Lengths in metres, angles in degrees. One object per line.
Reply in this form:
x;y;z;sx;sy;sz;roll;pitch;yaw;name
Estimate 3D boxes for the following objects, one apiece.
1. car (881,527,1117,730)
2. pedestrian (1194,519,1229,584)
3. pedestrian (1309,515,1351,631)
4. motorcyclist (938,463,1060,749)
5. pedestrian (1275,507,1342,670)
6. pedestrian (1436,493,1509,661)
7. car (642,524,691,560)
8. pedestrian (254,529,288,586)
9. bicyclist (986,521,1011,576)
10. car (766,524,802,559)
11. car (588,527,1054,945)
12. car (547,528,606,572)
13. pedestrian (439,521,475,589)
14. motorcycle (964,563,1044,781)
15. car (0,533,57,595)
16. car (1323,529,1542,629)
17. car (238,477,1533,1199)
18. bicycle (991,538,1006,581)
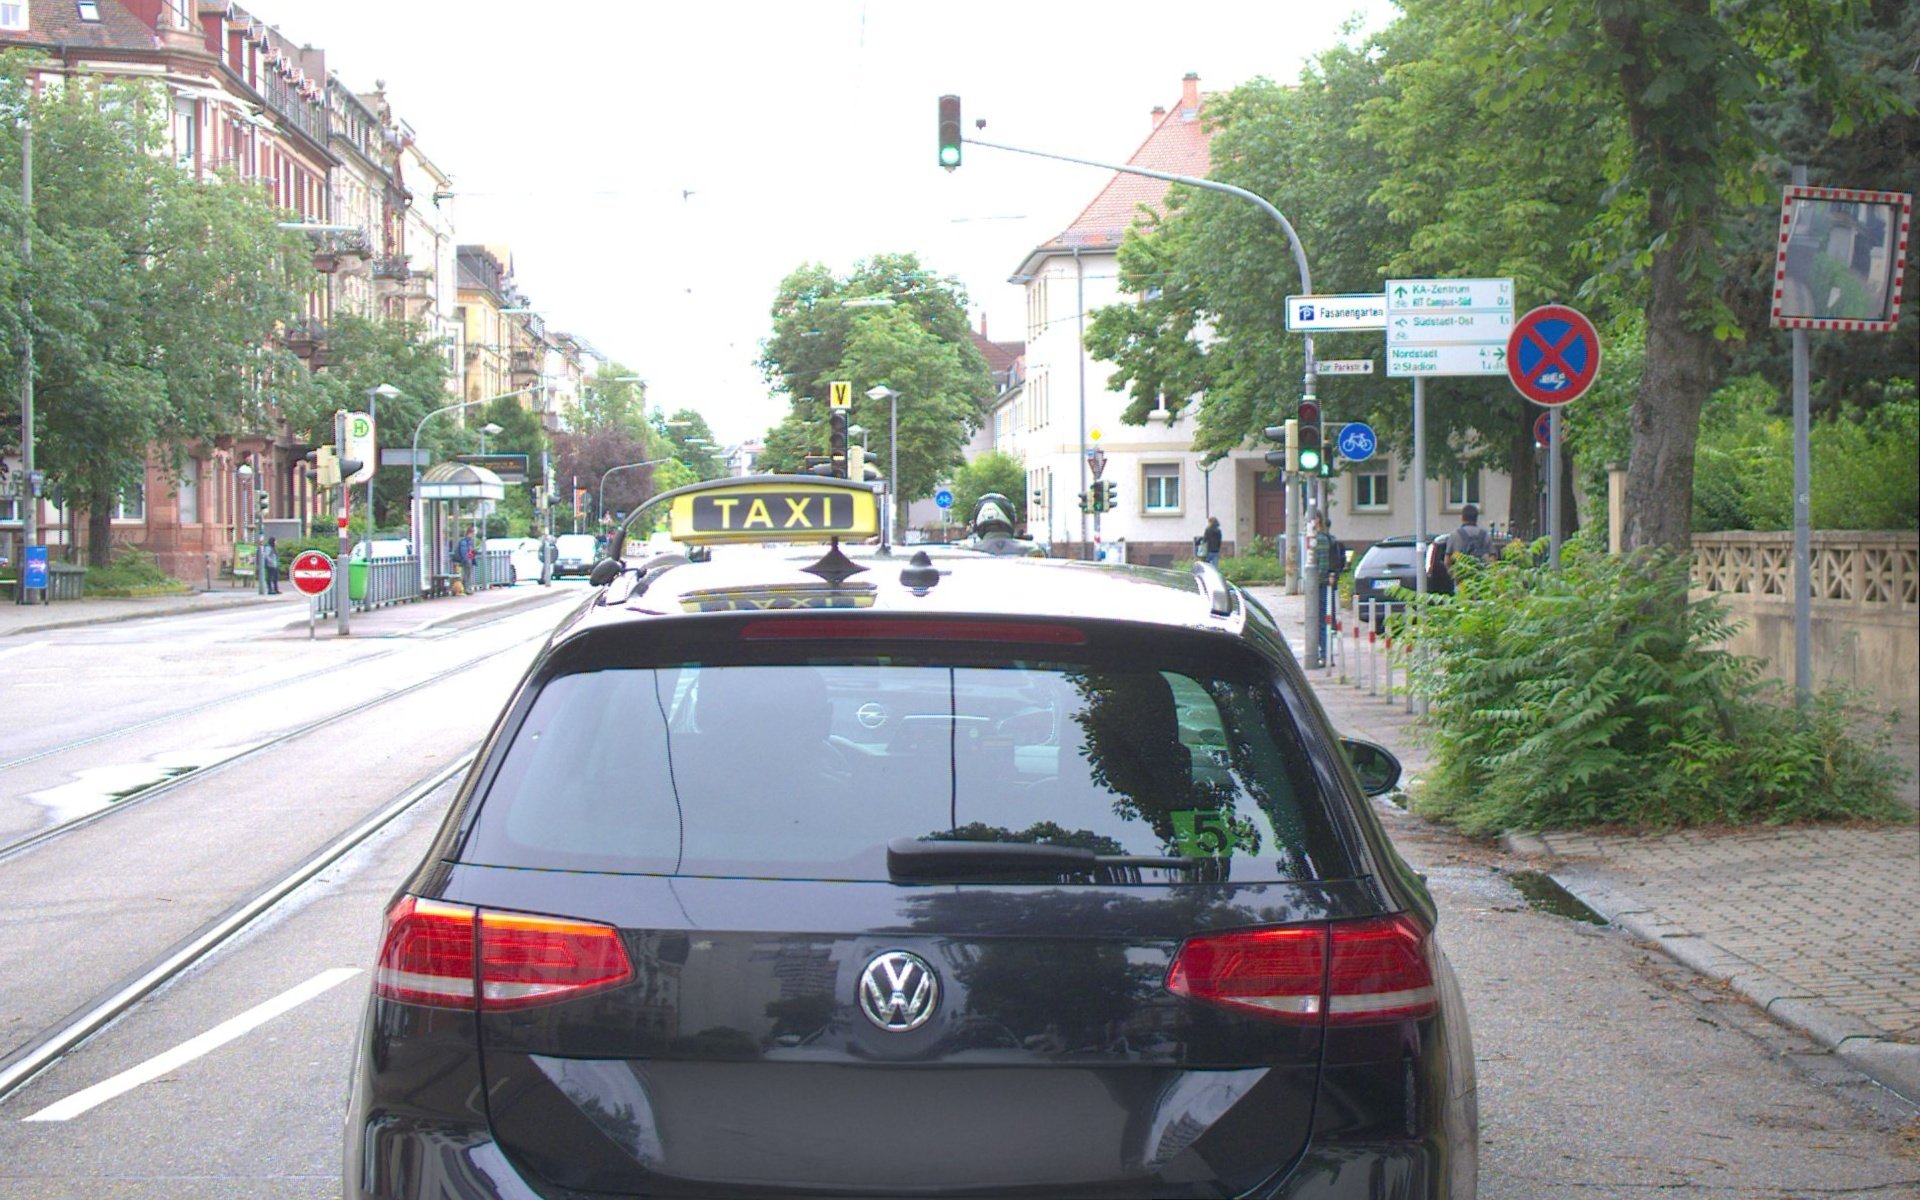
0.252;0.173;28.214;1.723;1.541;4.001;0;1;-2;car
6.031;-1.159;82.446;0.608;1.548;0.583;-1;1;-41;pedestrian
5.888;-0.432;54.699;0.514;1.824;0.418;-4;1;-1;pedestrian
0.240;0.026;20.789;0.703;1.686;0.804;-1;1;1;motorcyclist
3.995;-0.134;39.466;0.585;1.824;0.604;-4;1;-1;pedestrian
5.598;-0.256;37.581;0.632;1.808;0.726;-1;1;-5;pedestrian
-13.044;-2.592;152.780;1.795;1.590;4.000;-1;1;0;car
-18.333;-1.140;91.501;0.589;1.515;0.648;0;1;33;pedestrian
1.101;-1.483;99.251;0.651;1.563;0.695;-1;1;5;bicyclist
-10.125;-3.359;197.982;2.032;2.007;4.000;1;1;-2;car
-0.592;0.459;14.727;1.723;1.541;4.001;0;1;-2;car
-13.089;-1.723;117.419;1.721;1.460;3.864;-1;1;-3;car
-11.377;-1.023;77.728;0.714;1.515;0.590;-1;1;-1;pedestrian
0.268;0.405;20.769;0.446;1.231;1.907;-1;1;1;motorcycle
-25.946;-0.912;89.967;3.989;1.590;1.999;-2;2;-42;car
7.101;-0.336;51.385;1.895;1.403;3.994;0;1;29;car
-0.174;0.562;6.590;1.723;1.541;4.001;0;1;-2;car
1.110;-1.171;99.190;0.297;1.219;1.430;-1;1;5;bicycle
